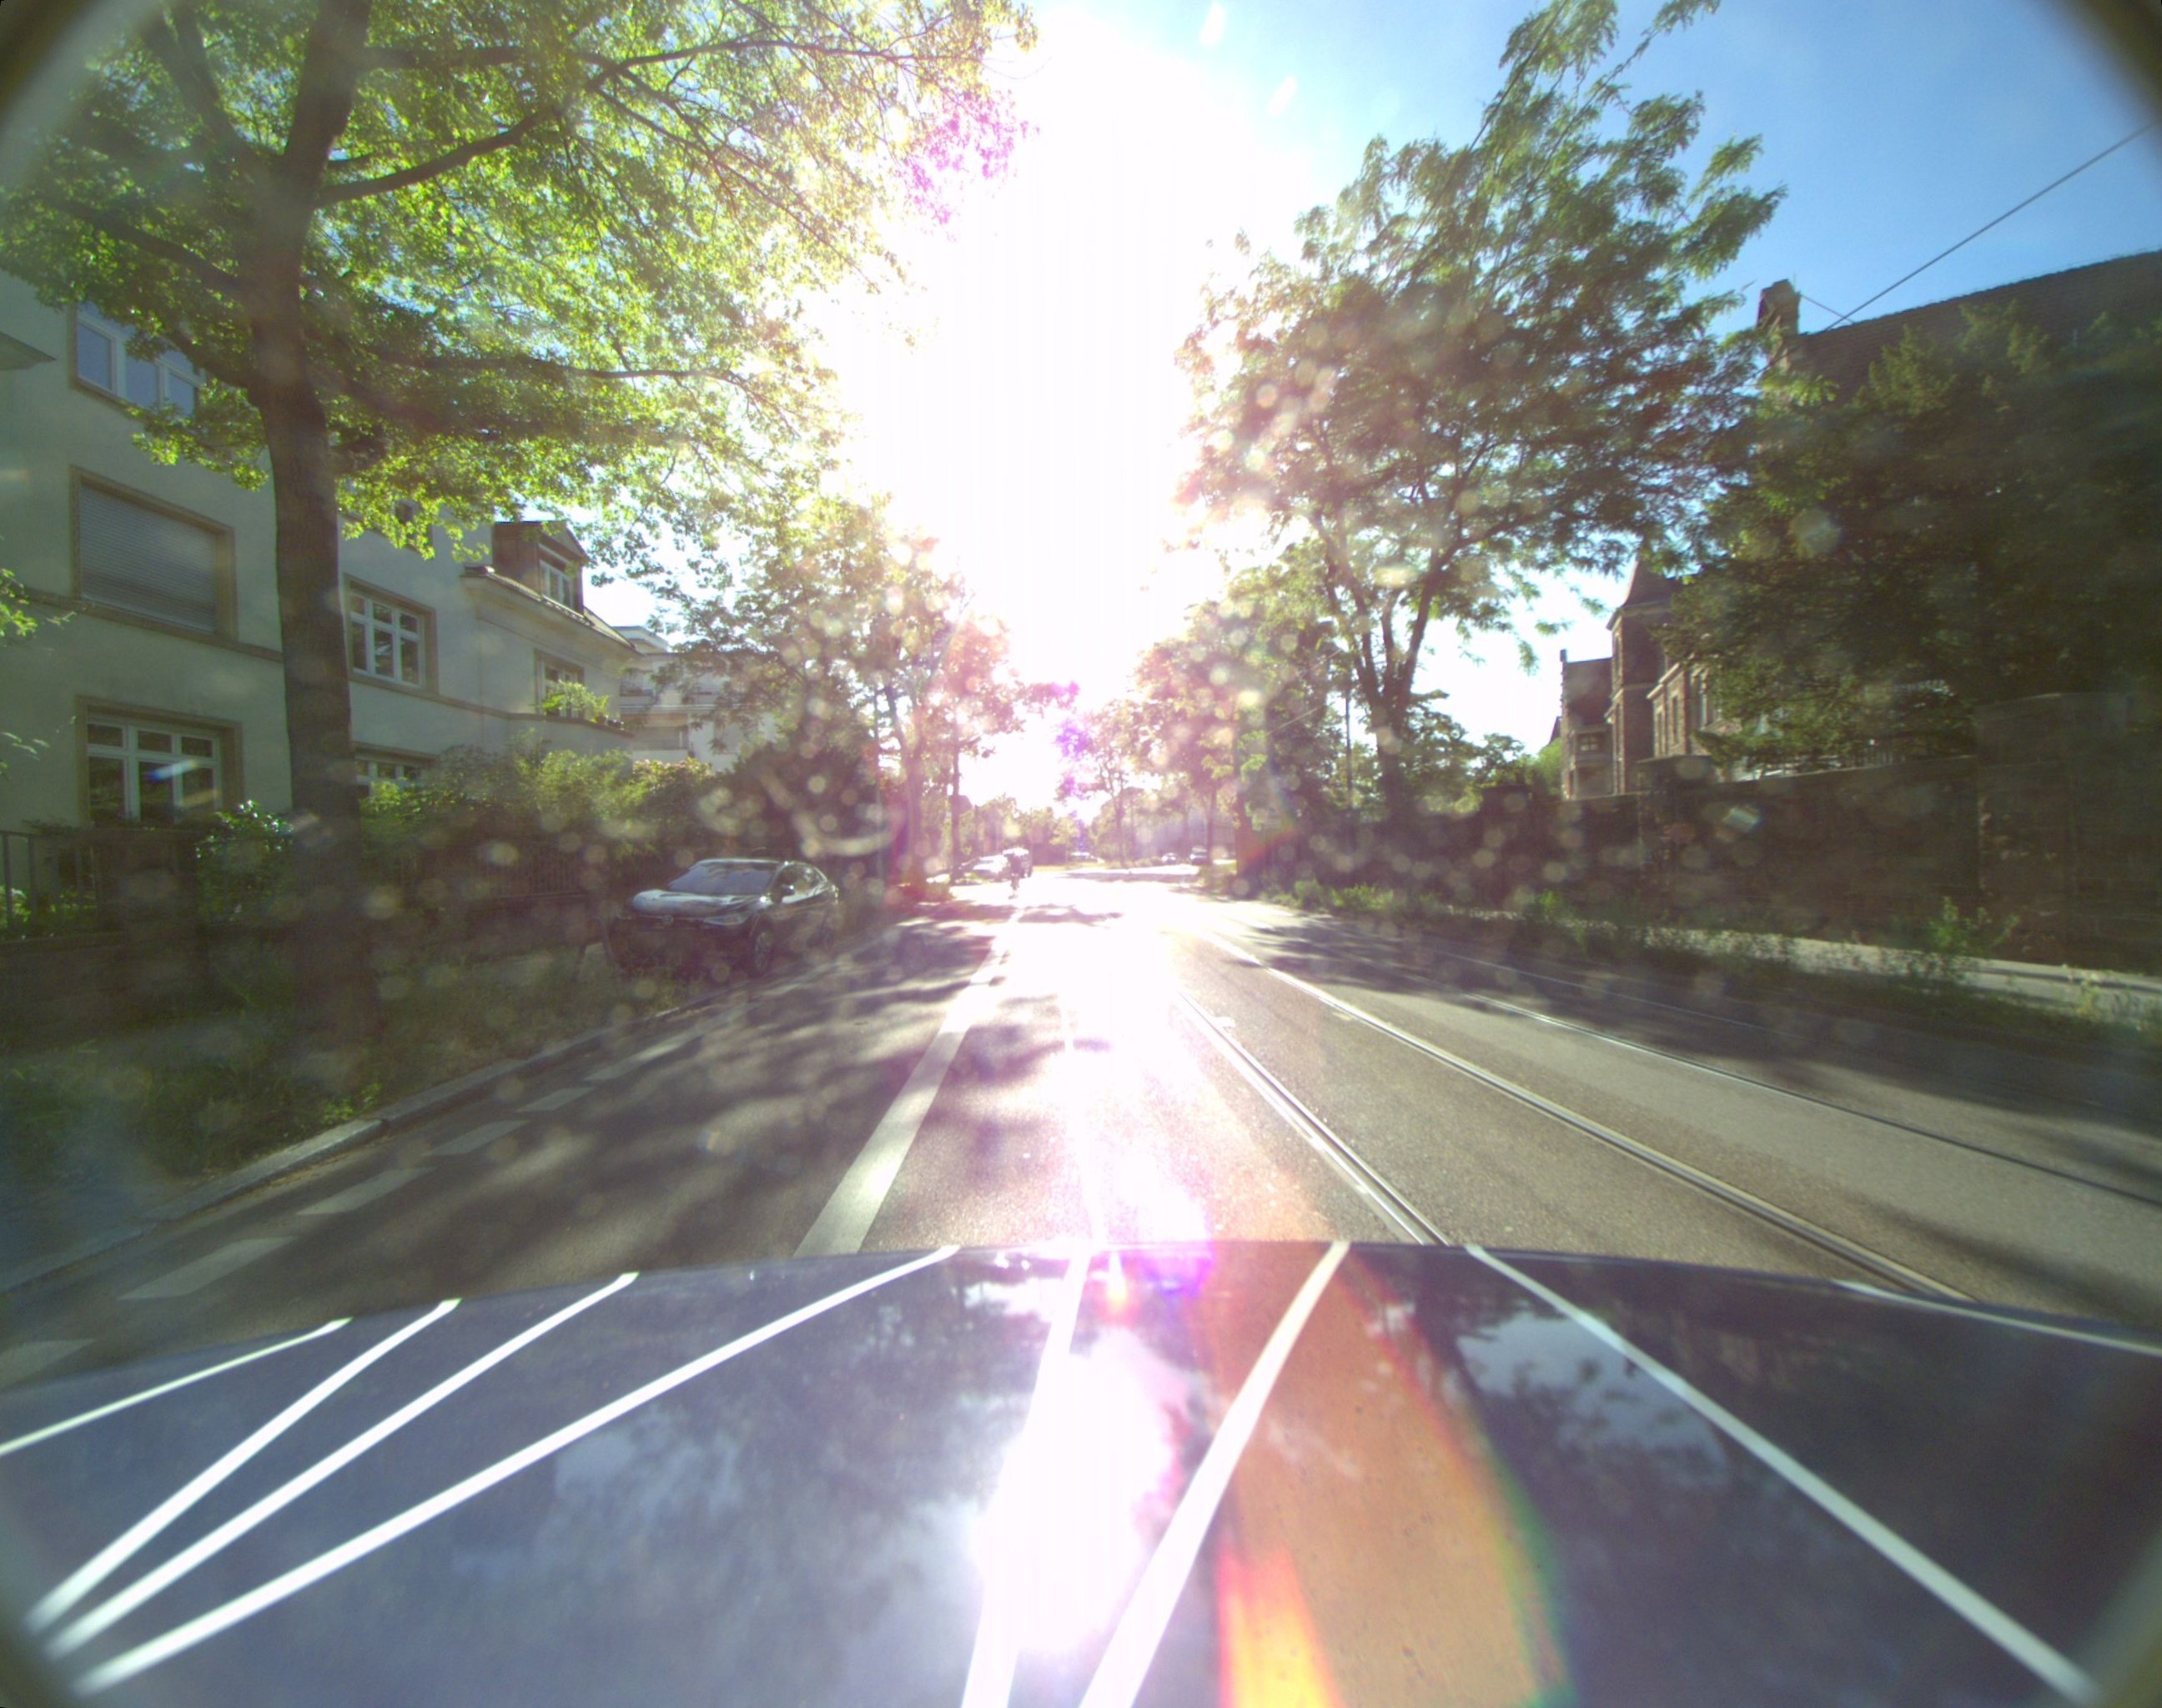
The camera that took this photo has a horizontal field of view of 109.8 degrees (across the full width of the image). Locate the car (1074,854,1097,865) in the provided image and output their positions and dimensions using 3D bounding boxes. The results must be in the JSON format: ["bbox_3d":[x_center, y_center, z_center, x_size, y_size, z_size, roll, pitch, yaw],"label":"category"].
[{"bbox_3d":[0.741,0.910,128.794,3.908,1.683,1.905,-1,1,-1],"label":"car"}]

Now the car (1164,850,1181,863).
[{"bbox_3d":[11.905,0.310,98.726,1.997,1.539,4.002,-2,0,8],"label":"car"}]

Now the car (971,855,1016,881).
[{"bbox_3d":[-5.170,0.791,45.338,1.901,1.402,4.260,-1,0,4],"label":"car"}]

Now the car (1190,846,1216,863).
[{"bbox_3d":[13.961,0.065,86.762,1.874,1.805,4.974,-1,0,20],"label":"car"}]

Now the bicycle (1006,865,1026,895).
[{"bbox_3d":[-2.580,1.018,30.379,0.588,1.105,1.855,-2,0,1],"label":"bicycle"}]

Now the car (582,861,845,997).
[{"bbox_3d":[-5.201,0.947,11.512,1.919,1.590,4.258,2,0,-1],"label":"car"}]

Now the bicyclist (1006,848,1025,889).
[{"bbox_3d":[-2.609,0.570,30.369,0.644,1.632,0.665,-2,1,0],"label":"bicyclist"}]

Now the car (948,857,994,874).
[{"bbox_3d":[-10.049,1.042,69.542,3.998,1.433,1.813,-2,0,-3],"label":"car"}]

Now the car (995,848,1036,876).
[{"bbox_3d":[-4.408,0.503,51.693,1.900,1.775,4.670,-1,0,6],"label":"car"}]
